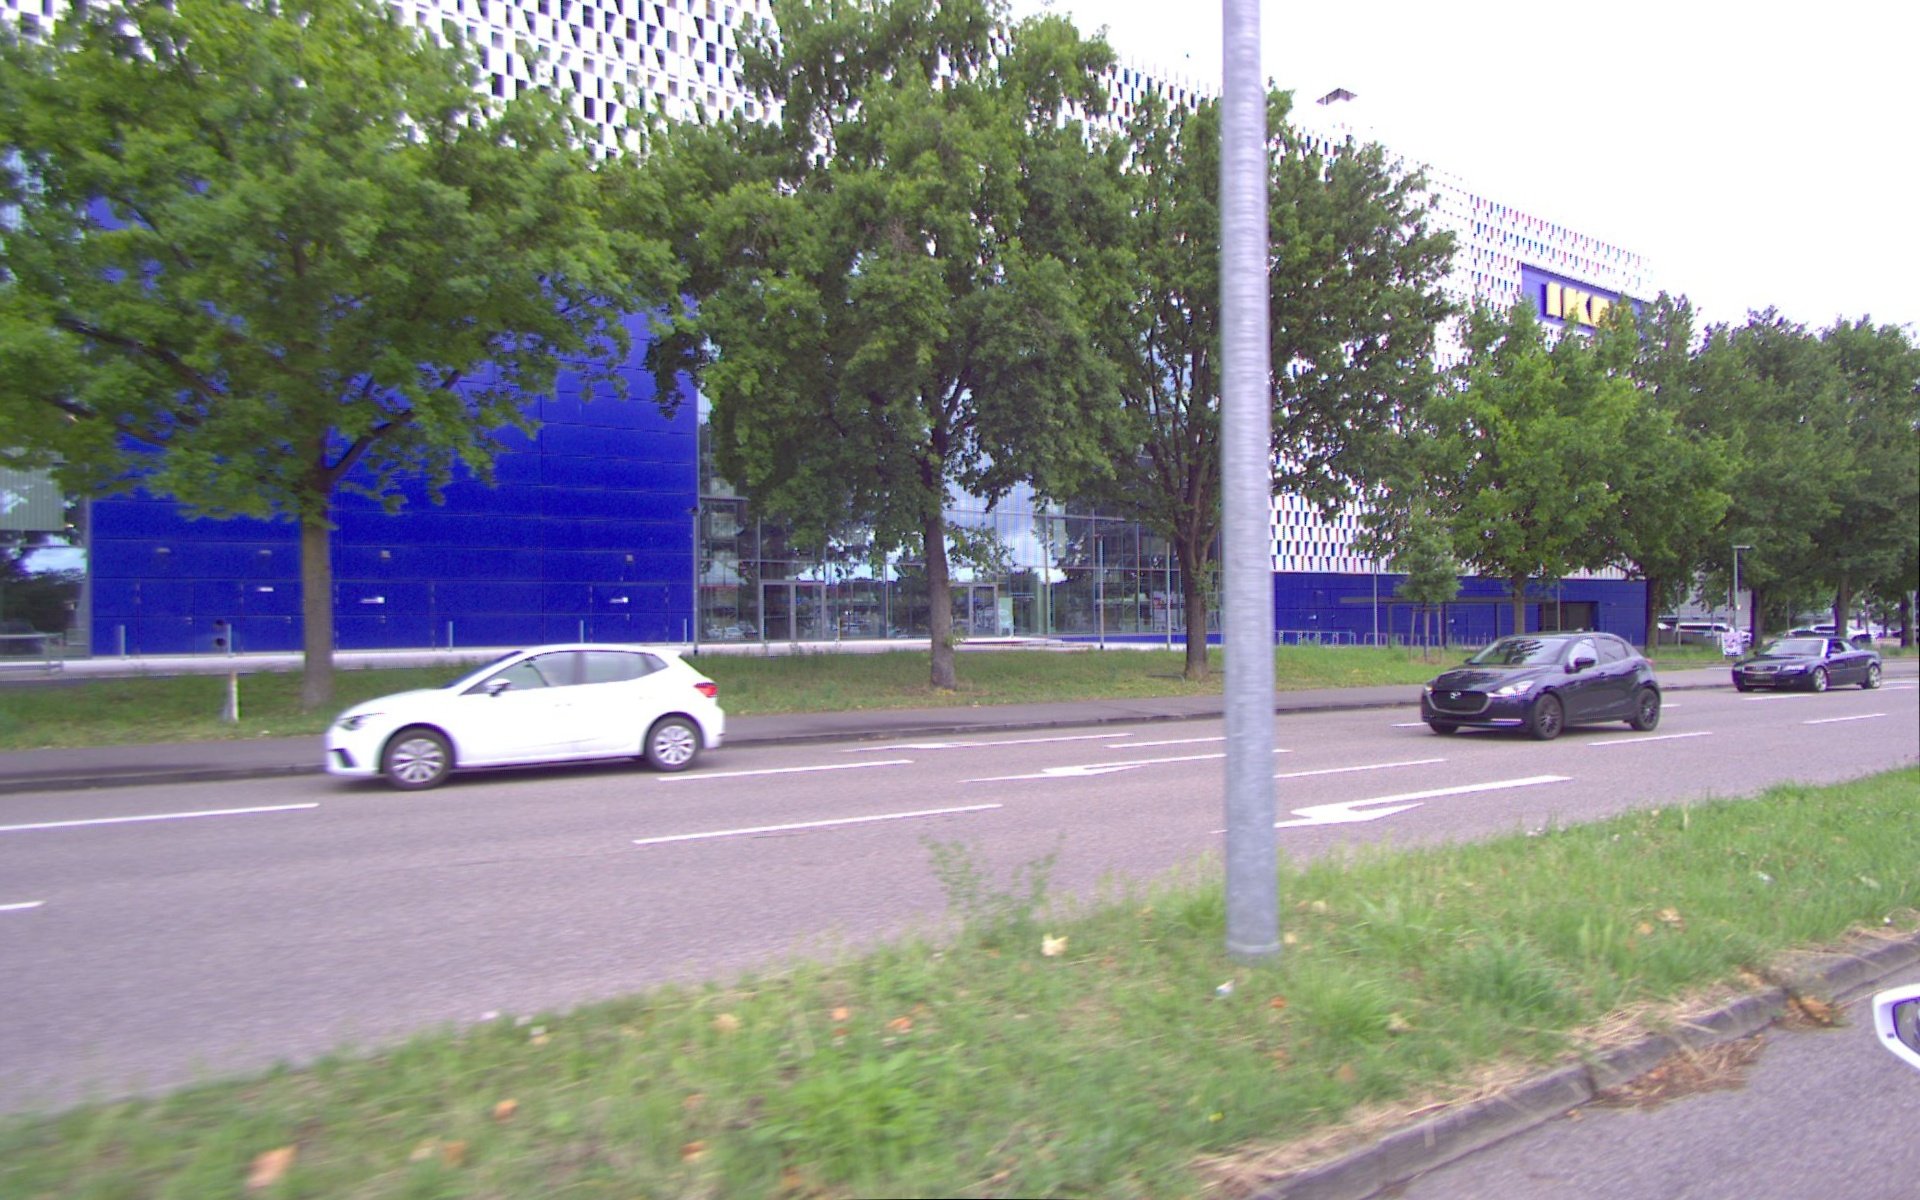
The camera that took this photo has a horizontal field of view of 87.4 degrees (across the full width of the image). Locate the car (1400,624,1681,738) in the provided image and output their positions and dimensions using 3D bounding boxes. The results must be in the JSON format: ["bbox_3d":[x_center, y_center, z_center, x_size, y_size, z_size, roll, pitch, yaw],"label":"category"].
[{"bbox_3d":[8.566,1.120,14.780,3.950,1.472,1.751,1,-3,-28],"label":"car"}]

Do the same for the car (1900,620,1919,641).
[{"bbox_3d":[76.123,2.331,77.802,1.979,1.681,4.516,0,-2,-34],"label":"car"}]

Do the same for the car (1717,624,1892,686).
[{"bbox_3d":[21.761,1.394,25.877,4.345,1.471,1.767,1,-3,-25],"label":"car"}]

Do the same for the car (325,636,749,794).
[{"bbox_3d":[-4.657,1.164,11.329,4.119,1.473,1.858,1,-3,-30],"label":"car"}]

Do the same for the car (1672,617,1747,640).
[{"bbox_3d":[68.106,2.570,91.319,1.859,1.990,5.105,-4,1,-31],"label":"car"}]

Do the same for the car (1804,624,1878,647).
[{"bbox_3d":[75.228,2.994,85.835,1.978,1.734,4.408,-4,1,-33],"label":"car"}]
